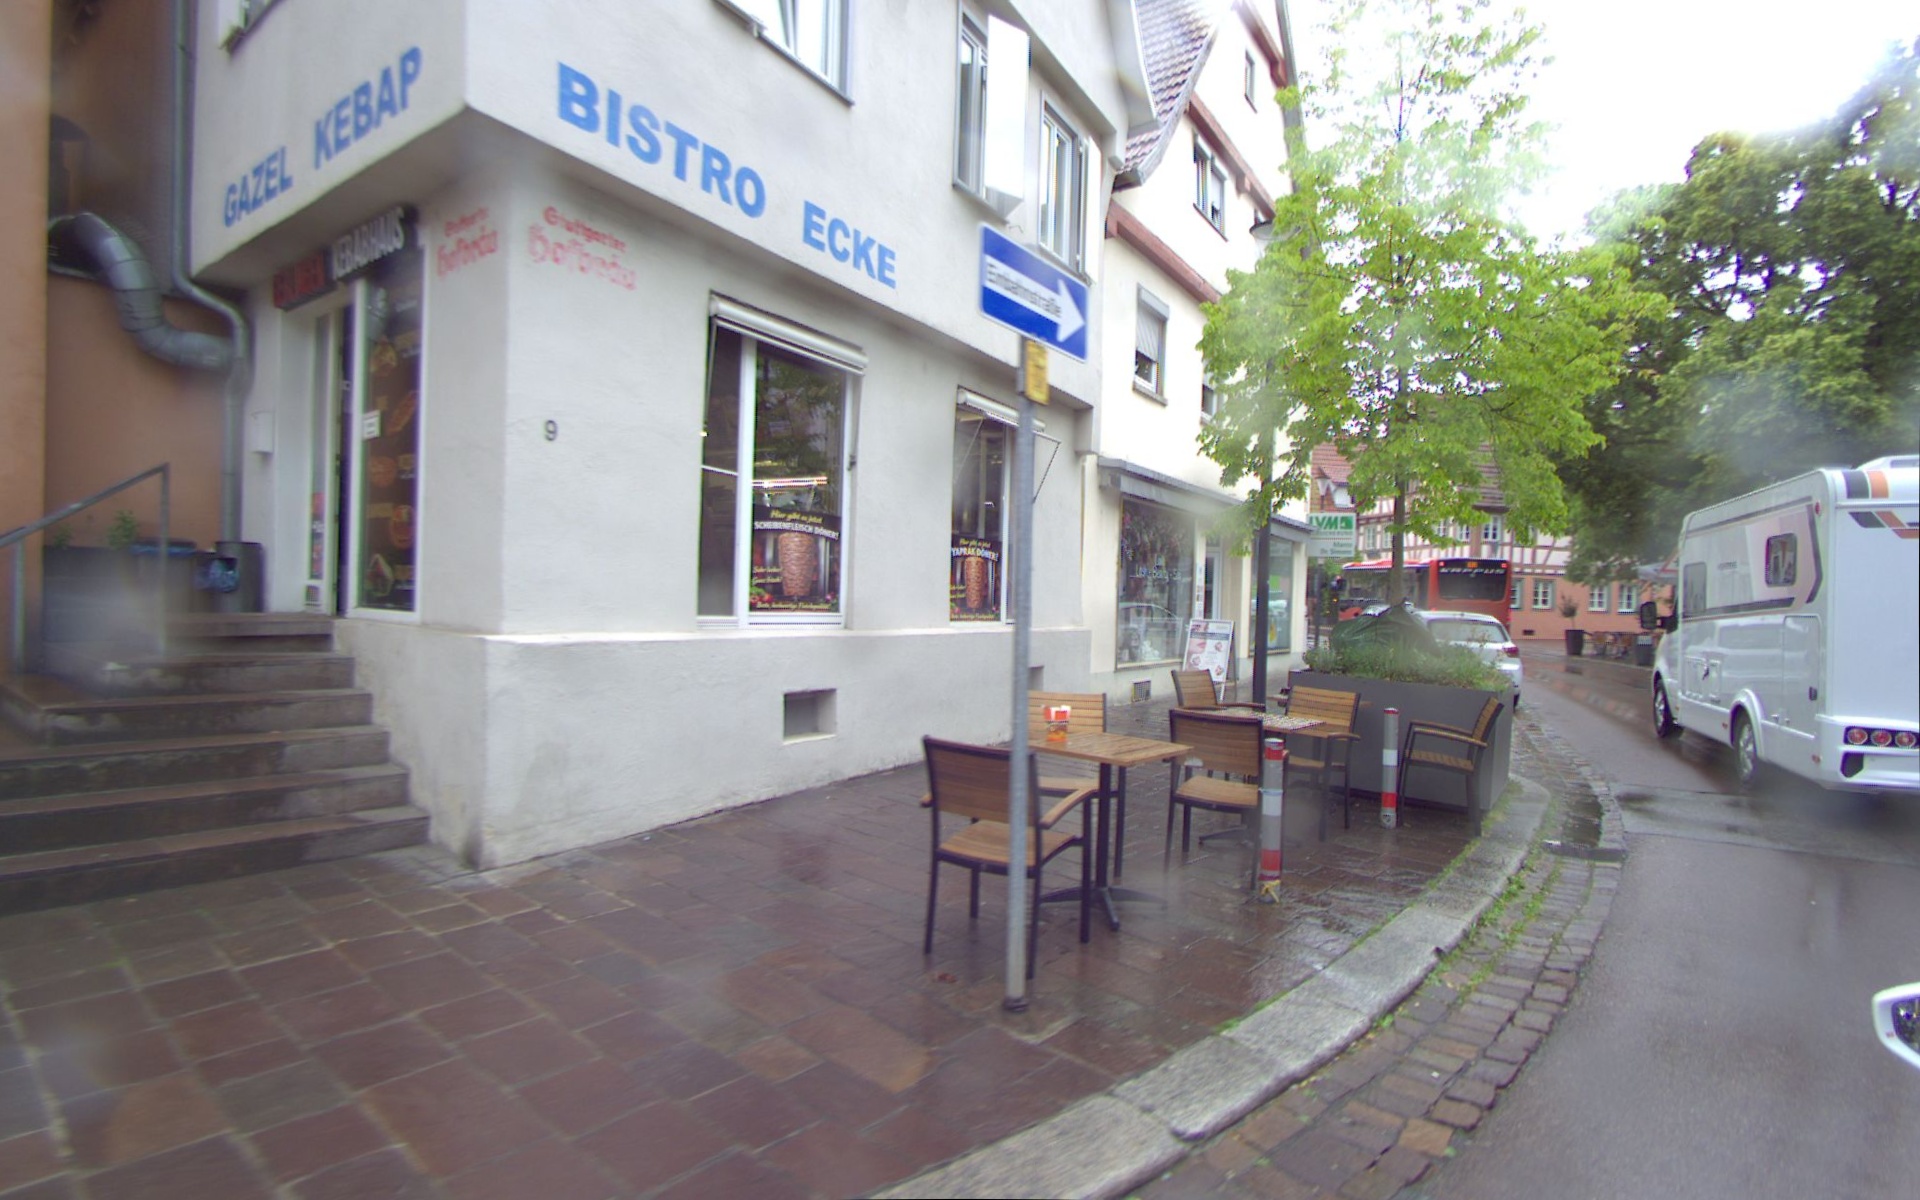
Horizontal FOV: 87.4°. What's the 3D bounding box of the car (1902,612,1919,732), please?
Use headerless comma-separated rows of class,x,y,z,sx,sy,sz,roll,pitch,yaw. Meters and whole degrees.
car,12.588,0.926,11.434,1.651,1.549,3.795,1,0,26

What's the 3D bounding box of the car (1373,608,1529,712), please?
car,8.358,0.929,17.445,1.692,1.433,3.982,4,1,16

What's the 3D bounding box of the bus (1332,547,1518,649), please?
bus,16.408,-0.075,36.526,2.765,3.130,10.612,1,0,6

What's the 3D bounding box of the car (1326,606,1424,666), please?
car,11.465,0.945,28.012,1.692,1.433,3.983,2,1,10

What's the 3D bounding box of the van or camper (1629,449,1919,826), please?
van or camper,8.632,0.309,9.796,2.399,2.620,6.745,2,0,25
